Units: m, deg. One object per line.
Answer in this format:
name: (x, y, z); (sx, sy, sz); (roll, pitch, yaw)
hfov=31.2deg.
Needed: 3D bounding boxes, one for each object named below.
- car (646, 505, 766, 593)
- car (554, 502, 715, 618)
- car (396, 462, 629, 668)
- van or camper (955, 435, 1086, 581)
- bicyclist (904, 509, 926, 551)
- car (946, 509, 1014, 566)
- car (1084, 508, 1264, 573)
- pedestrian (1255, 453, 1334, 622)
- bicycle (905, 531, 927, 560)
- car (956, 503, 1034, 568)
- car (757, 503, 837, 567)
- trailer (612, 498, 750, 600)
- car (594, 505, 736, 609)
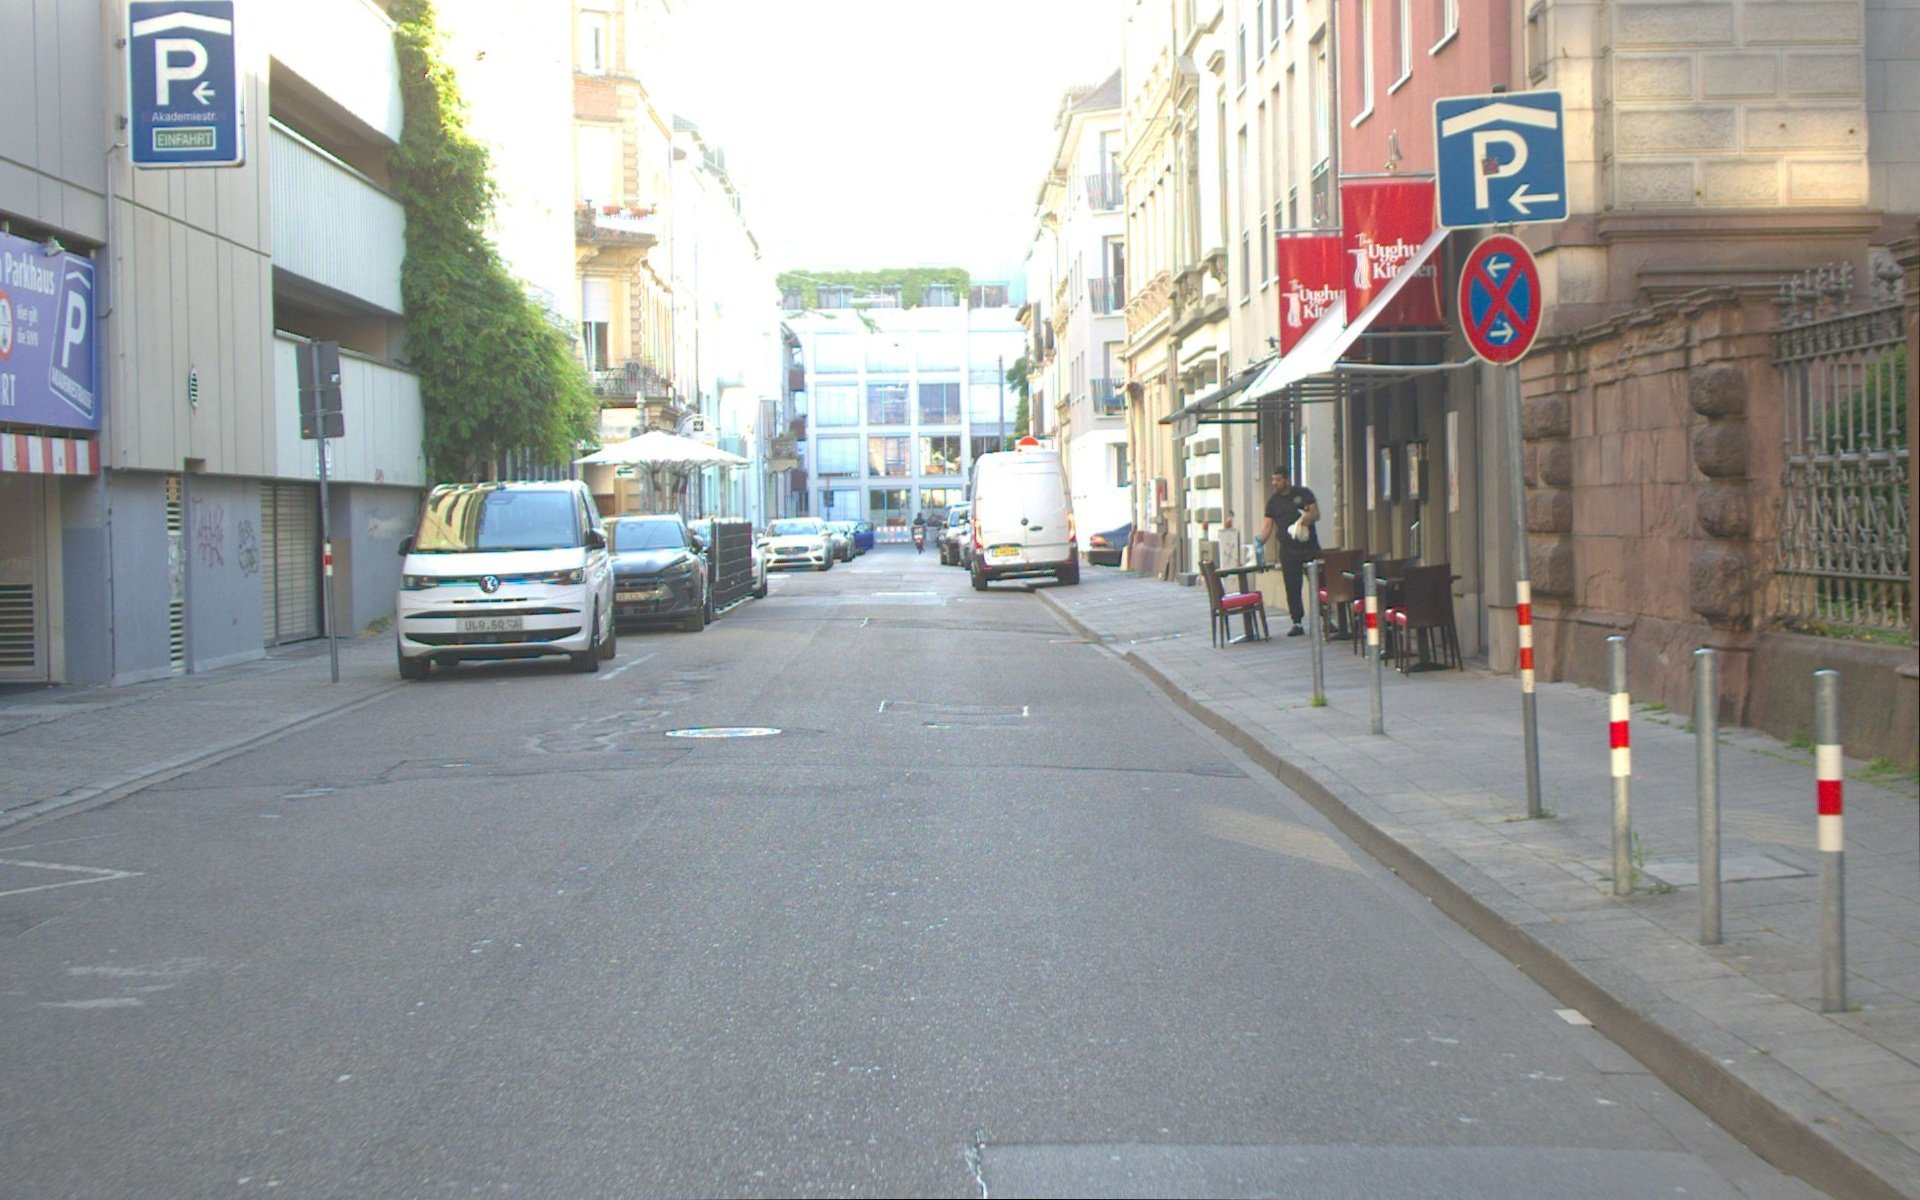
car: (-4.362, -0.909, 59.483); (1.883, 1.448, 4.001); (-1, 1, -2)
car: (-4.298, -0.559, 45.938); (1.883, 1.448, 4.001); (-1, 1, -2)
car: (-4.434, -0.387, 34.701); (1.883, 1.905, 4.749); (-1, 1, -2)
van or camper: (1.152, -1.793, 68.039); (2.258, 2.598, 5.112); (-5, 1, 0)
bicyclist: (-2.002, -3.110, 153.281); (0.990, 1.862, 0.708); (-1, 1, 0)
car: (0.584, -1.891, 104.461); (1.993, 1.678, 4.000); (-1, 1, 0)
car: (4.867, -1.349, 78.524); (3.987, 1.415, 1.656); (-1, 1, 0)
pedestrian: (3.392, -0.636, 34.870); (0.662, 1.660, 0.624); (-3, 1, 0)
bicycle: (-1.964, -2.443, 153.476); (0.975, 1.276, 2.754); (-1, 1, 0)
car: (0.920, -1.727, 92.617); (1.993, 1.678, 4.000); (-1, 1, 0)
car: (-4.441, -1.769, 94.004); (1.993, 1.678, 4.000); (-1, 1, 0)
trailer: (-4.433, -0.822, 55.096); (1.993, 1.551, 4.000); (-1, 1, -2)
car: (-4.320, -0.659, 50.835); (1.883, 1.448, 4.001); (-1, 1, -2)
